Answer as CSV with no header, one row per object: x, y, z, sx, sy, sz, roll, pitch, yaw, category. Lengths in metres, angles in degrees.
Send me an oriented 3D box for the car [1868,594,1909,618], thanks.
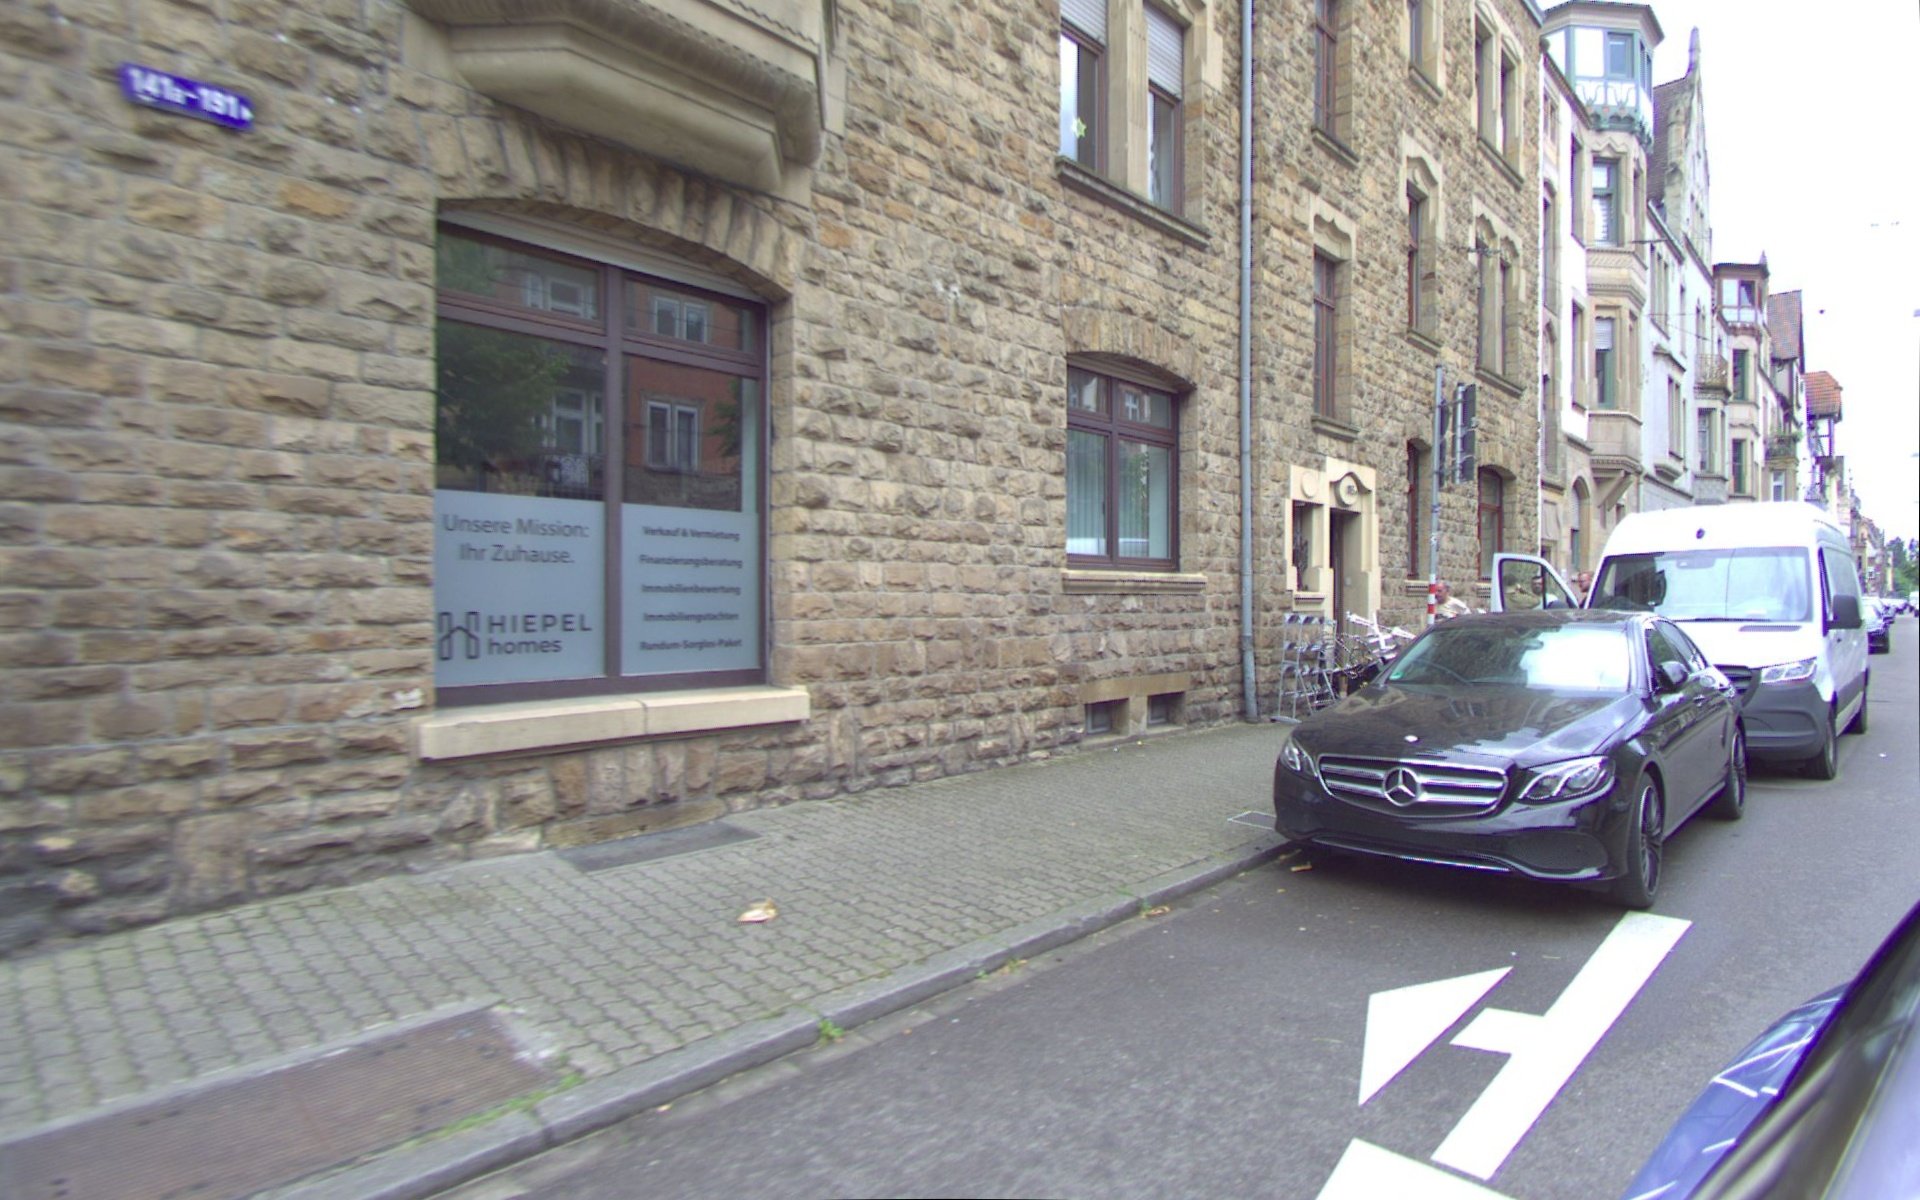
62.105,0.407,67.661,1.788,1.532,4.146,-4,-3,44,car

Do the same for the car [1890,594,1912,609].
100.710,0.155,108.299,1.671,1.547,4.148,-1,0,43,car

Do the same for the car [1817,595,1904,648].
26.948,0.582,30.225,1.801,1.456,5.114,0,0,43,car

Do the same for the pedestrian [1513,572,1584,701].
8.182,0.489,14.097,0.695,1.721,0.490,2,1,17,pedestrian

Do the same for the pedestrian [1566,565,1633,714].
8.226,0.487,13.014,0.790,1.837,0.499,0,2,-45,pedestrian

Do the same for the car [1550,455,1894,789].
8.579,0.177,11.005,2.013,2.581,6.903,-2,-1,45,car

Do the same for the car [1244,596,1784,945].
3.962,0.730,6.712,4.925,1.468,1.824,0,-1,-45,car

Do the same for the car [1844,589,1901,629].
39.821,0.358,44.195,1.758,1.643,4.622,0,0,42,car

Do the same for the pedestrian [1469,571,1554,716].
6.902,0.516,12.665,0.858,1.721,0.532,3,1,31,pedestrian
